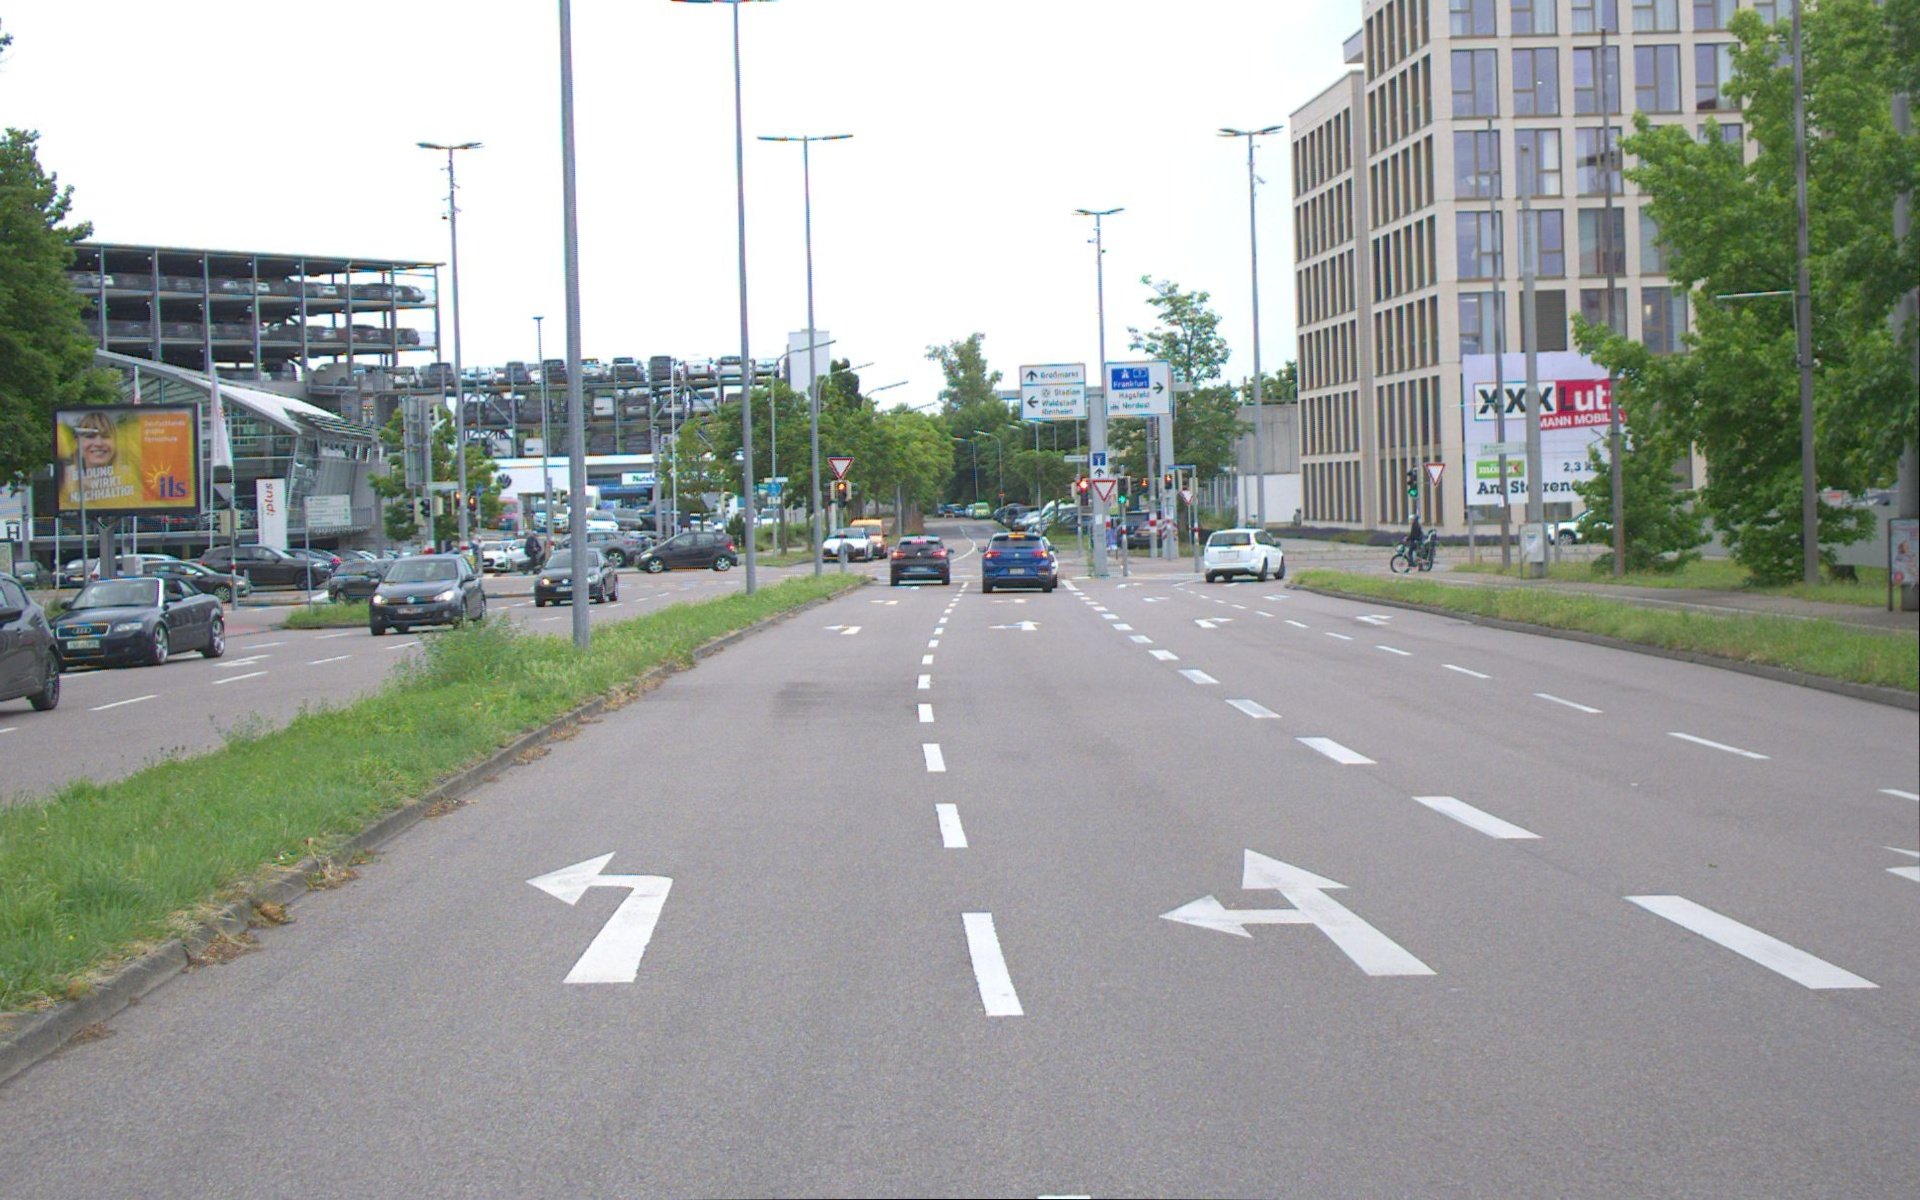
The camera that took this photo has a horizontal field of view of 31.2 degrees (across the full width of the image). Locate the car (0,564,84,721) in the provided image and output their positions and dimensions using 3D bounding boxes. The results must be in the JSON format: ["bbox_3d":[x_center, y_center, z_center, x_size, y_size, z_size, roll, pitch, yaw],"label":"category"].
[{"bbox_3d":[-10.030,0.438,33.764,1.758,1.448,4.000,-2,1,0],"label":"car"}]

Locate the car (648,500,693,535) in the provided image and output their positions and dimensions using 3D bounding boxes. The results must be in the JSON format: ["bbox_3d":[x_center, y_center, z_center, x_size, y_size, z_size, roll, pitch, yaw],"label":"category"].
[{"bbox_3d":[-15.902,-4.547,189.128,1.776,1.700,3.916,-1,3,5],"label":"car"}]

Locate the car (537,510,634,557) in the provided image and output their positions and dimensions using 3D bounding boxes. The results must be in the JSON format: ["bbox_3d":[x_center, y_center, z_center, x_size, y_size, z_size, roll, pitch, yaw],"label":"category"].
[{"bbox_3d":[-15.773,-2.815,144.933,3.986,1.784,1.848,-2,3,-4],"label":"car"}]

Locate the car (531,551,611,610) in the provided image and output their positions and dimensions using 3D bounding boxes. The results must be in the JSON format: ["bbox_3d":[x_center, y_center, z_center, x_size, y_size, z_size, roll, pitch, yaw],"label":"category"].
[{"bbox_3d":[-10.082,-0.528,89.375,1.930,1.450,4.183,-1,1,-5],"label":"car"}]

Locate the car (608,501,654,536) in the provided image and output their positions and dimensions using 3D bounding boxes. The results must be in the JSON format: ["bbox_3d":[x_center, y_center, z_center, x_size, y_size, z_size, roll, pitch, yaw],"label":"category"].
[{"bbox_3d":[-18.092,-4.491,189.097,1.776,1.700,3.916,-1,3,5],"label":"car"}]

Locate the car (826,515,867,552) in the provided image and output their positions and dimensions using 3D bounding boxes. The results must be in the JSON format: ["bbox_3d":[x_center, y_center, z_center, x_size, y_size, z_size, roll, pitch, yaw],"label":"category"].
[{"bbox_3d":[-4.916,-2.883,148.932,1.600,1.448,3.325,-1,3,0],"label":"car"}]

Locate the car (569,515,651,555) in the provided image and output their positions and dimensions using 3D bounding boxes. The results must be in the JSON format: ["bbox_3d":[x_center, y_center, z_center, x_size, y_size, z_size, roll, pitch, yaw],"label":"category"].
[{"bbox_3d":[-15.857,-2.944,155.831,3.604,1.662,1.549,-2,3,-4],"label":"car"}]

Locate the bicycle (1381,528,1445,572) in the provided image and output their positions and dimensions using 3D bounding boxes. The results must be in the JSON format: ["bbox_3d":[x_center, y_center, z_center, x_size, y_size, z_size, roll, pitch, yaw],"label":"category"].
[{"bbox_3d":[13.470,-1.485,102.275,0.700,1.291,2.011,-2,2,-36],"label":"bicycle"}]

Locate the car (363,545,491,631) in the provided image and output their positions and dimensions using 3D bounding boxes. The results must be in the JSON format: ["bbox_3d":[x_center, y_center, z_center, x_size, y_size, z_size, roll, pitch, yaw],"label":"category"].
[{"bbox_3d":[-10.083,-0.248,65.290,1.780,1.450,4.182,-3,1,-1],"label":"car"}]

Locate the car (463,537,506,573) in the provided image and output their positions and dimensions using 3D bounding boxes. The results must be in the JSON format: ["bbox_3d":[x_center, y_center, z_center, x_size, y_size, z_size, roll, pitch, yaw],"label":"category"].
[{"bbox_3d":[-19.399,-1.846,140.109,1.370,1.321,3.035,-2,3,-14],"label":"car"}]

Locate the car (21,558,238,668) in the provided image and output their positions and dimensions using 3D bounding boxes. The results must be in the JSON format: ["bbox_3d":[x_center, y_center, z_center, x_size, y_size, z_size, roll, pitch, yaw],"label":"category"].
[{"bbox_3d":[-12.496,0.160,52.005,1.772,1.447,4.404,-3,1,5],"label":"car"}]

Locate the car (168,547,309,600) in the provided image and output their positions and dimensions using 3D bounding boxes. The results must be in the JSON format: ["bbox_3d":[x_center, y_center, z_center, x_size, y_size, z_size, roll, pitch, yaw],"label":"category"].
[{"bbox_3d":[-24.070,-0.902,114.812,4.415,1.654,2.000,-1,1,-7],"label":"car"}]

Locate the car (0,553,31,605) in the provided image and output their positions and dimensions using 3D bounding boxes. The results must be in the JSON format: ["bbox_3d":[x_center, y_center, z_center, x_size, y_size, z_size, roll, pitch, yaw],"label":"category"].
[{"bbox_3d":[-33.248,-0.627,113.779,4.542,1.654,2.001,-3,2,-6],"label":"car"}]

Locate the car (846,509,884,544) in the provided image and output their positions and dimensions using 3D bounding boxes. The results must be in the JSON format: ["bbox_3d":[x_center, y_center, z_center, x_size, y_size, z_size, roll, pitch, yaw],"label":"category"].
[{"bbox_3d":[-4.309,-3.358,157.063,1.600,1.448,3.325,-1,3,0],"label":"car"}]

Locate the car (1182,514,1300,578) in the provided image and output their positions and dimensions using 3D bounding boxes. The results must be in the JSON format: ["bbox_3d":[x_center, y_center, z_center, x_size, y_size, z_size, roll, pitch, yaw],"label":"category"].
[{"bbox_3d":[8.157,-1.574,99.373,1.996,1.746,4.174,-1,1,26],"label":"car"}]

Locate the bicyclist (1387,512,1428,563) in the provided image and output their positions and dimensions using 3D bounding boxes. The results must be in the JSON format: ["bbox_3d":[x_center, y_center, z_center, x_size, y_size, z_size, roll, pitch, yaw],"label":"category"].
[{"bbox_3d":[13.322,-1.857,102.442,0.700,1.498,1.000,-2,2,-36],"label":"bicyclist"}]

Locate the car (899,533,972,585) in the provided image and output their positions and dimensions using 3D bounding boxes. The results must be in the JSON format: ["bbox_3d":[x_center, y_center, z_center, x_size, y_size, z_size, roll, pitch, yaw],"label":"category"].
[{"bbox_3d":[-0.749,-1.185,100.710,1.987,1.423,4.242,-1,0,-2],"label":"car"}]

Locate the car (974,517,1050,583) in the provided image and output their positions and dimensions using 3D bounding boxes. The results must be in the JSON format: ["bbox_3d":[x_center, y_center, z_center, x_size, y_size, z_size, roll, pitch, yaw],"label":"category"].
[{"bbox_3d":[1.314,-1.311,88.366,1.835,1.509,4.001,-1,3,0],"label":"car"}]

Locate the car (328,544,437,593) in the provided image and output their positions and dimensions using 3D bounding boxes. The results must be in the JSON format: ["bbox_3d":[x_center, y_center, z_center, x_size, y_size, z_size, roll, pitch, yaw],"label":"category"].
[{"bbox_3d":[-21.504,-1.181,128.205,3.855,1.629,1.725,-2,3,-6],"label":"car"}]

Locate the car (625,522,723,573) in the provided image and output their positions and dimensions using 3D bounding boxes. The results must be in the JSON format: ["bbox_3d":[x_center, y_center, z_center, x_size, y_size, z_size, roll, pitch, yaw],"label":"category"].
[{"bbox_3d":[-10.944,-2.014,131.356,3.675,1.765,1.746,-2,3,-5],"label":"car"}]

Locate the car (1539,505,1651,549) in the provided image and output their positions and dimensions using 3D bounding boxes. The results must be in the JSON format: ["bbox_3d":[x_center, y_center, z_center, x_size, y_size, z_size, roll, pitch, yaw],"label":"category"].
[{"bbox_3d":[25.043,-2.876,135.607,3.941,1.562,1.761,-2,3,-14],"label":"car"}]

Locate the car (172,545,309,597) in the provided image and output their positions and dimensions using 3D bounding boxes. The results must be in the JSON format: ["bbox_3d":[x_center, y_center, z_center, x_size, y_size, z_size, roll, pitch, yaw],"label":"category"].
[{"bbox_3d":[-25.311,-1.025,121.055,4.402,1.638,2.000,-1,3,-1],"label":"car"}]
